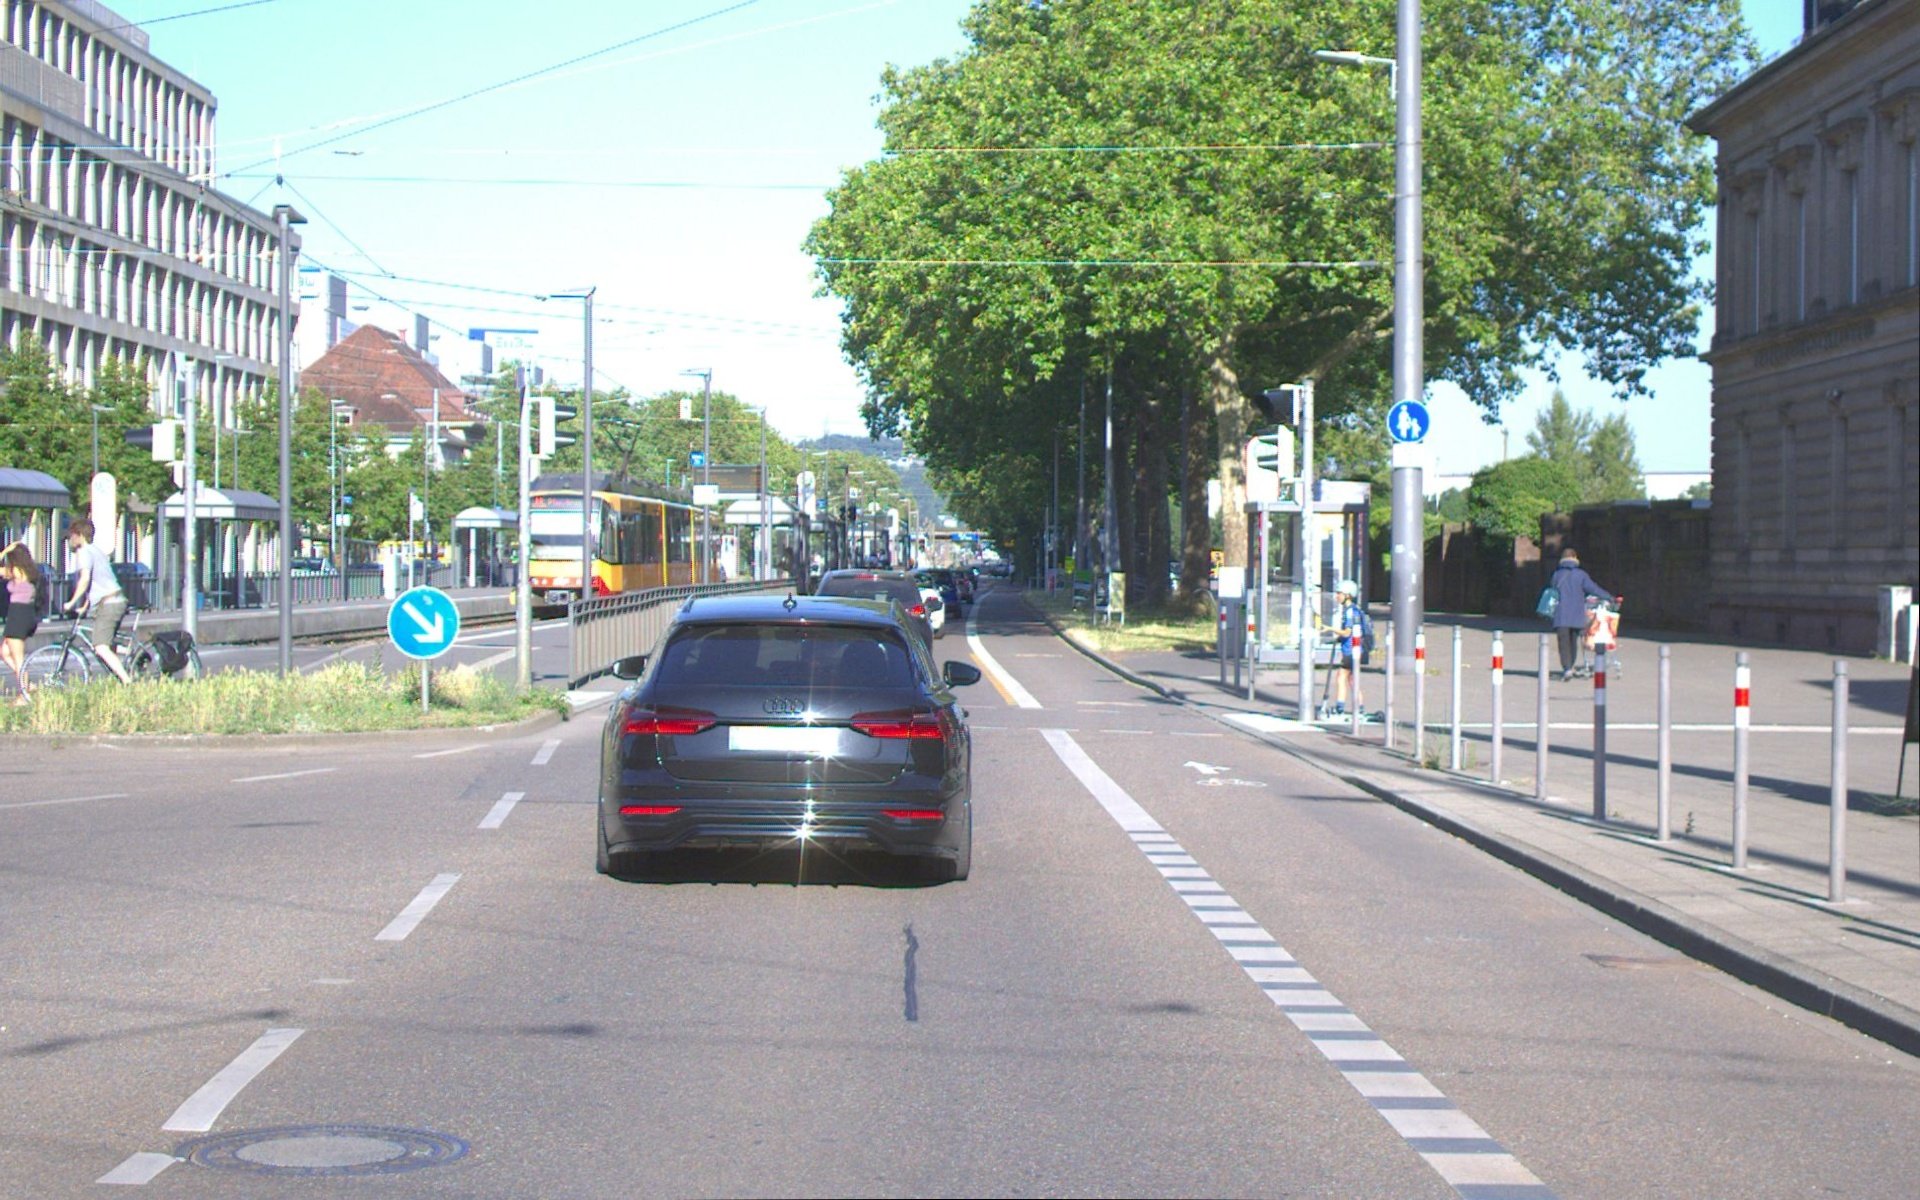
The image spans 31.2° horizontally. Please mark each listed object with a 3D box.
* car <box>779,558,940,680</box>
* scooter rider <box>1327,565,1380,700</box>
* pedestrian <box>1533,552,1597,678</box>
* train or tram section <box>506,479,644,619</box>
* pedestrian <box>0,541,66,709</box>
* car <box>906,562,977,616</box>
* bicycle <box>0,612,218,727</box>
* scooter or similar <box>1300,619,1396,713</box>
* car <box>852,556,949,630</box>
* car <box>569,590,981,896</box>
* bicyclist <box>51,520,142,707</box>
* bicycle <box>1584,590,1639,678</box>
[{"bbox_3d":[-1.270,0.238,44.974,1.902,1.481,4.144,1,0,1],"label":"car"},{"bbox_3d":[4.079,0.335,35.643,0.484,1.381,0.377,0,-1,-1],"label":"scooter rider"},{"bbox_3d":[8.011,0.192,45.556,0.682,1.655,0.758,0,1,-1],"label":"pedestrian"},{"bbox_3d":[-10.024,-1.316,90.540,2.608,3.439,11.133,0,1,-1],"label":"train or tram section"},{"bbox_3d":[-9.832,0.255,35.985,0.740,1.735,0.663,1,0,5],"label":"pedestrian"},{"bbox_3d":[-0.506,-0.298,98.342,1.902,1.481,4.144,1,0,1],"label":"car"},{"bbox_3d":[-8.373,0.679,33.861,2.005,1.104,0.765,0,1,-5],"label":"bicycle"},{"bbox_3d":[4.022,0.681,35.645,0.938,0.963,0.361,-1,-1,-1],"label":"scooter or similar"},{"bbox_3d":[-1.237,-0.146,73.098,1.902,1.481,4.144,1,0,1],"label":"car"},{"bbox_3d":[-0.869,0.682,18.457,1.902,1.417,4.144,1,0,1],"label":"car"},{"bbox_3d":[-8.493,0.124,33.832,0.756,1.812,0.765,0,1,-6],"label":"bicyclist"},{"bbox_3d":[8.635,0.440,45.575,0.434,1.141,1.340,0,1,-1],"label":"bicycle"}]
